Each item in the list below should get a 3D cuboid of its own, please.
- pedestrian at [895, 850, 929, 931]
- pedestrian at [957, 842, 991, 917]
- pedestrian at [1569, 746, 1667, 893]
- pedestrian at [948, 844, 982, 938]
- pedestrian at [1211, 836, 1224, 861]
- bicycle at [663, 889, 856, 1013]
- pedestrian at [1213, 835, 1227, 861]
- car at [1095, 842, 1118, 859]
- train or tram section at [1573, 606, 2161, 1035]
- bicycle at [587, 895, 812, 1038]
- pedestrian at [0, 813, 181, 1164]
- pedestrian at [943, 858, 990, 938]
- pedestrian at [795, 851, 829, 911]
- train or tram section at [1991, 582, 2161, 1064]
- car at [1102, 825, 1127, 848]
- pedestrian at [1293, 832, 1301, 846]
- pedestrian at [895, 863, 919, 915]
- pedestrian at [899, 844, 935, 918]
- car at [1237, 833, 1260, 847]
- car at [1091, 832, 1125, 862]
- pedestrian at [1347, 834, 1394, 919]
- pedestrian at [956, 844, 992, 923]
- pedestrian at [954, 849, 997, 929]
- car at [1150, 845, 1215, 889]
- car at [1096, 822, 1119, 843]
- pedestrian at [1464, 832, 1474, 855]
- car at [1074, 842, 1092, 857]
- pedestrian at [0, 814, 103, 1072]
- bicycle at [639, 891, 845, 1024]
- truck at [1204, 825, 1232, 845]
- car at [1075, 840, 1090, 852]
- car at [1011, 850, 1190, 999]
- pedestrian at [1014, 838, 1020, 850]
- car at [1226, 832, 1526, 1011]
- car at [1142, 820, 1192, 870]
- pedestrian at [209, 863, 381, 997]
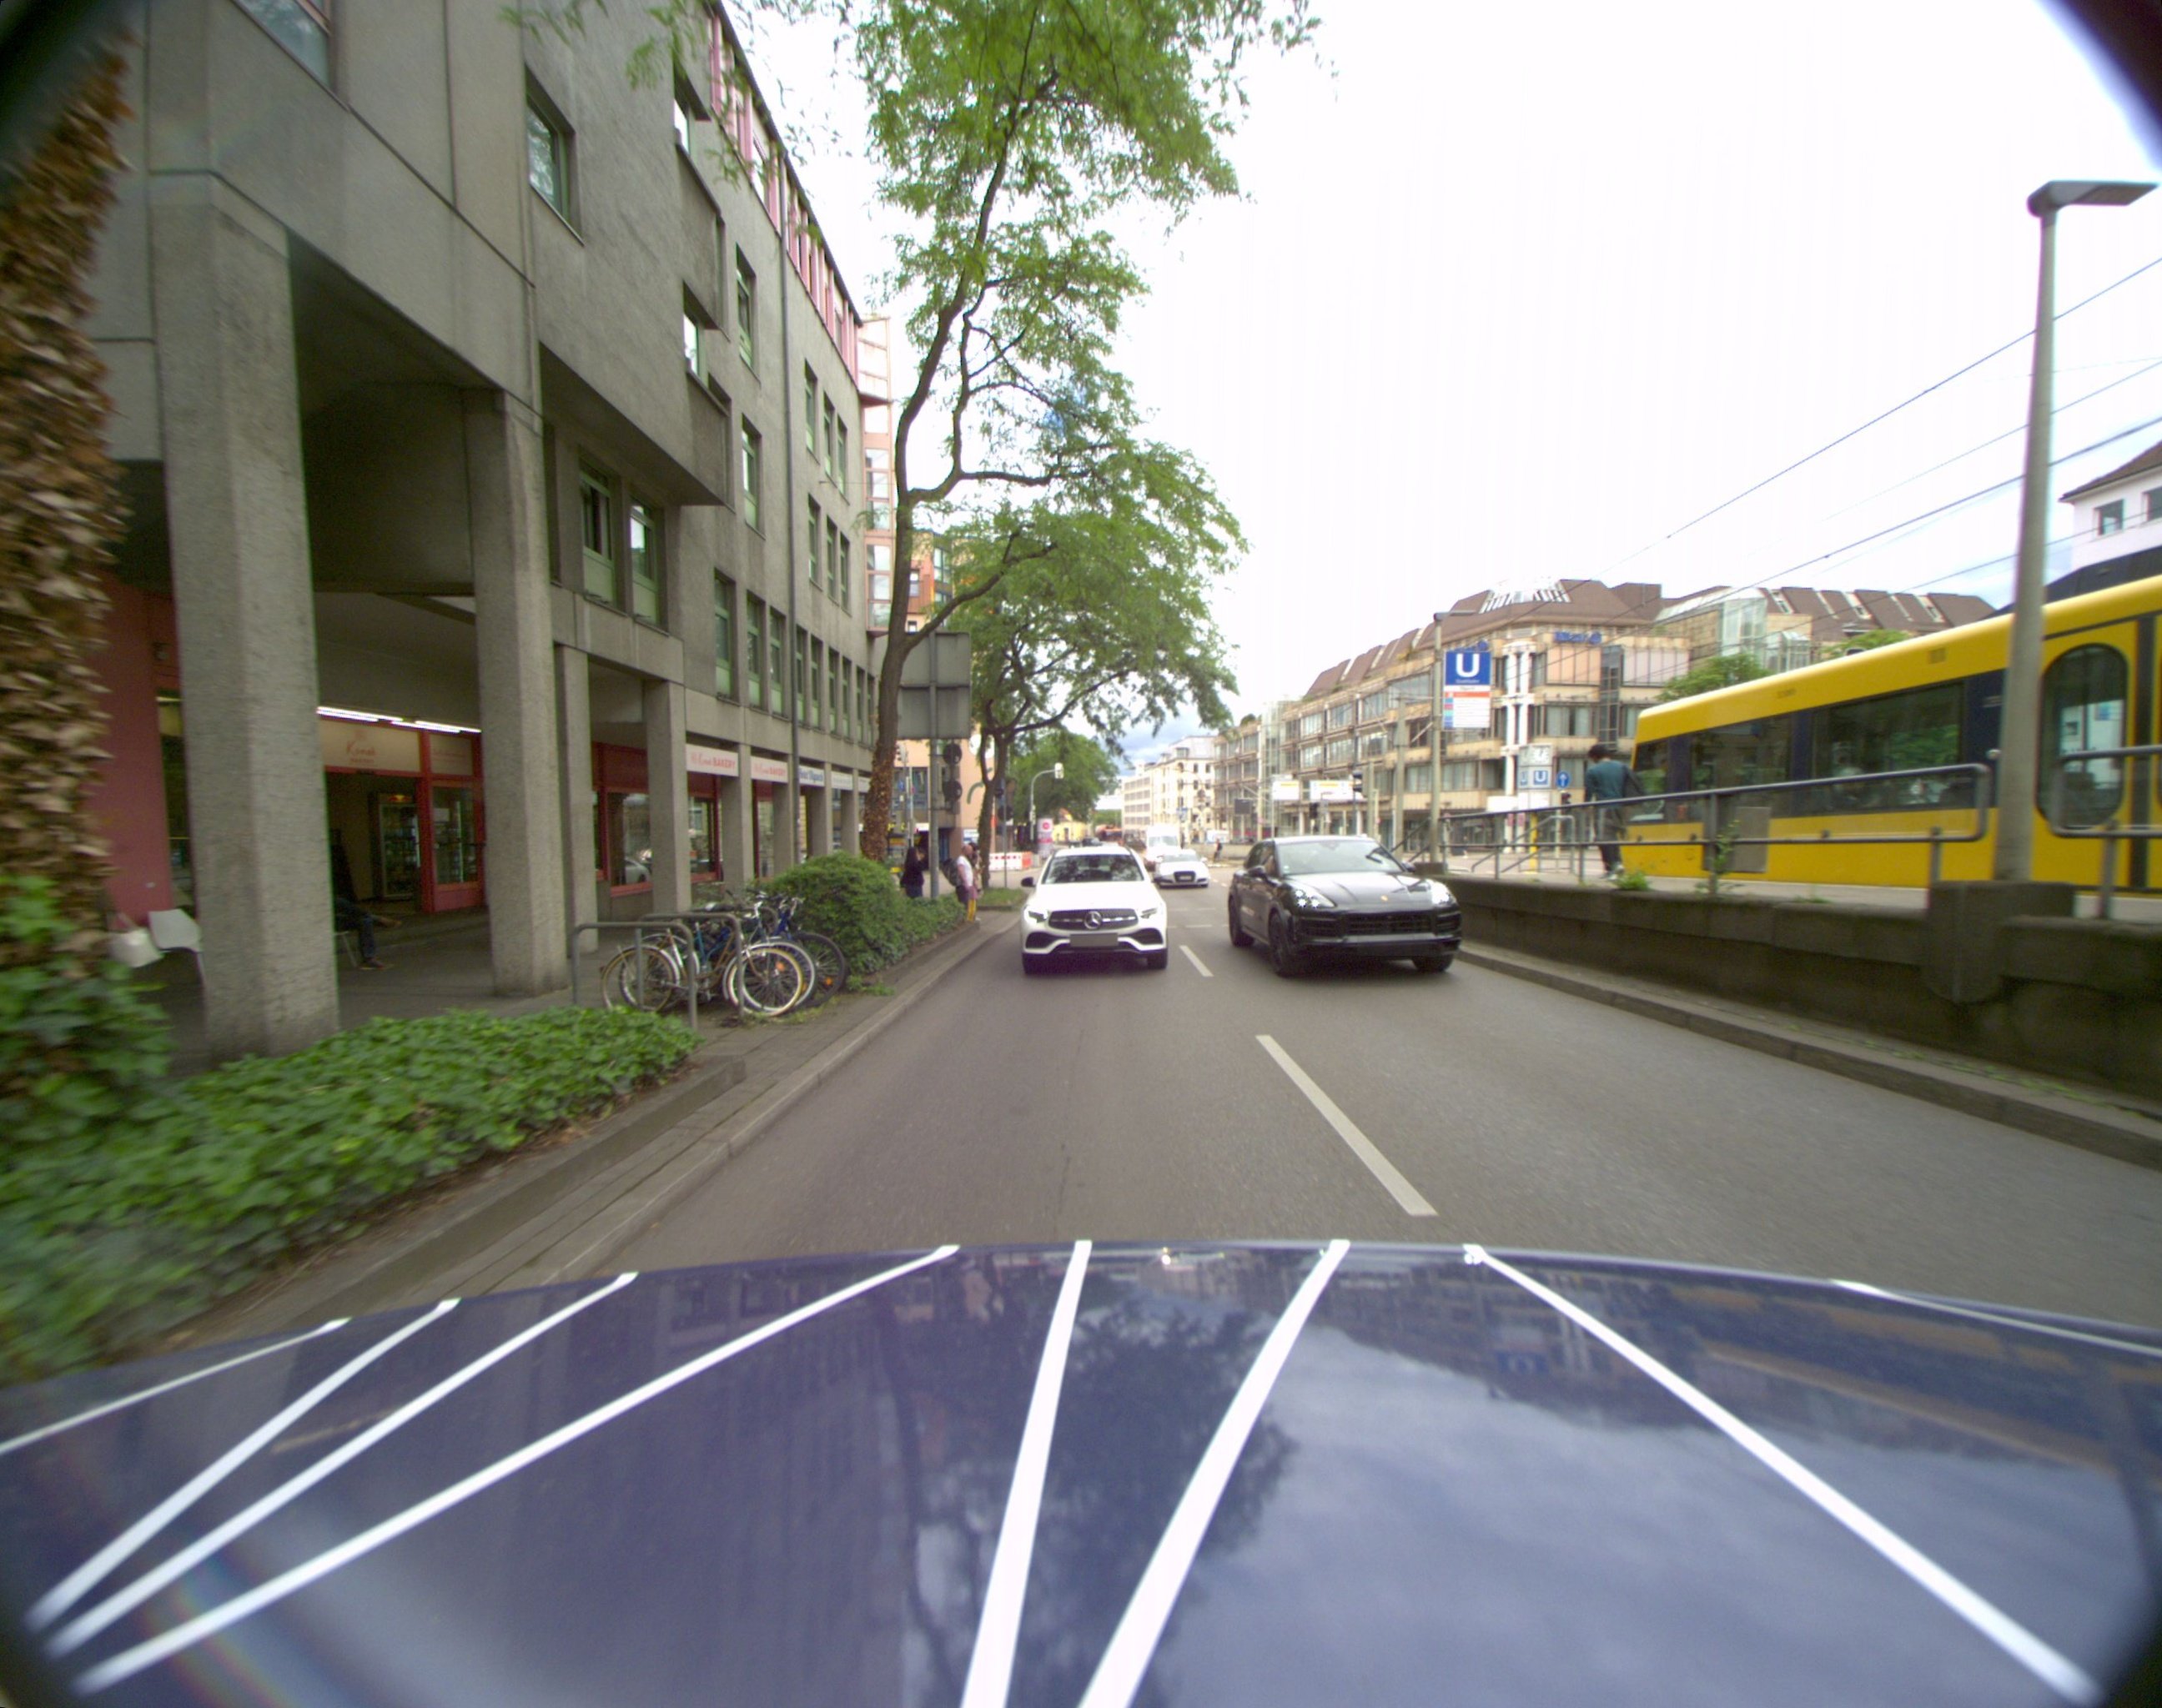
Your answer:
[{"bbox_3d":[-3.450,0.733,15.542,0.618,1.602,0.764,1,-1,-10],"label":"pedestrian"},{"bbox_3d":[-2.715,0.628,19.358,0.736,1.864,0.733,-1,2,-3],"label":"pedestrian"},{"bbox_3d":[6.570,-0.413,9.325,0.719,1.721,0.670,-2,2,2],"label":"pedestrian"},{"bbox_3d":[-2.280,0.715,15.007,0.520,1.779,0.764,-2,2,-3],"label":"pedestrian"},{"bbox_3d":[9.381,-0.368,52.134,0.766,1.712,0.637,-1,2,0],"label":"pedestrian"},{"bbox_3d":[-3.191,0.958,7.629,1.713,1.177,0.448,1,1,-6],"label":"bicycle"},{"bbox_3d":[9.423,-0.422,51.483,0.794,1.712,0.772,-1,2,0],"label":"pedestrian"},{"bbox_3d":[2.492,-0.338,74.560,1.950,1.522,3.998,-2,2,-1],"label":"car"},{"bbox_3d":[9.364,-0.342,9.429,2.842,3.658,5.751,-2,1,1],"label":"train or tram section"},{"bbox_3d":[-3.313,0.968,6.686,1.713,1.177,0.448,1,1,-6],"label":"bicycle"},{"bbox_3d":[-5.864,0.667,4.184,0.764,1.773,0.847,1,2,-4],"label":"pedestrian"},{"bbox_3d":[-2.345,0.886,15.638,0.838,1.554,0.764,-2,2,-3],"label":"pedestrian"},{"bbox_3d":[-8.103,0.795,22.863,0.857,1.703,1.124,-3,0,-21],"label":"pedestrian"},{"bbox_3d":[9.226,-0.233,3.666,2.842,3.501,5.751,-2,1,1],"label":"train or tram section"},{"bbox_3d":[4.296,-2.313,97.704,2.504,2.793,5.724,-2,2,-4],"label":"car"},{"bbox_3d":[27.731,-1.962,97.691,0.732,1.801,0.739,-2,2,-4],"label":"pedestrian"},{"bbox_3d":[-4.530,0.906,19.839,0.472,1.326,0.519,-2,2,-3],"label":"pedestrian"},{"bbox_3d":[-4.080,0.674,18.919,0.723,1.792,0.834,1,-1,-3],"label":"pedestrian"},{"bbox_3d":[22.839,-1.900,103.917,1.678,1.749,4.778,-2,2,-6],"label":"car"},{"bbox_3d":[2.108,-0.603,60.195,2.503,2.145,5.726,-2,2,1],"label":"car"},{"bbox_3d":[5.948,0.446,15.634,0.687,1.701,0.711,-1,1,1],"label":"pedestrian"},{"bbox_3d":[-2.479,0.674,17.656,0.695,1.767,0.689,3,2,-3],"label":"pedestrian"},{"bbox_3d":[-2.296,0.751,16.554,0.838,1.694,0.764,1,1,-3],"label":"pedestrian"},{"bbox_3d":[4.001,0.478,30.572,1.950,1.522,3.998,-2,2,-2],"label":"car"},{"bbox_3d":[3.679,-2.993,105.304,2.504,2.793,5.724,-2,2,-4],"label":"car"},{"bbox_3d":[29.841,-0.825,58.477,0.511,1.770,0.577,-1,2,3],"label":"pedestrian"},{"bbox_3d":[0.181,-0.567,86.769,1.950,1.522,3.998,-2,2,-1],"label":"car"},{"bbox_3d":[-7.915,0.610,5.462,0.834,1.793,0.723,1,1,1],"label":"pedestrian"},{"bbox_3d":[-3.161,0.963,7.177,1.713,1.177,0.448,1,1,-6],"label":"bicycle"},{"bbox_3d":[21.387,-2.963,118.942,2.273,3.059,7.368,1,2,-6],"label":"truck"},{"bbox_3d":[0.156,-1.163,106.765,1.950,1.522,3.998,-2,2,-1],"label":"car"},{"bbox_3d":[0.073,0.815,10.988,2.061,1.599,3.923,-2,2,-6],"label":"car"},{"bbox_3d":[-8.885,-1.411,105.958,0.711,1.701,0.687,-1,1,1],"label":"pedestrian"},{"bbox_3d":[3.323,0.618,9.935,2.087,1.665,5.352,-2,1,3],"label":"car"},{"bbox_3d":[5.052,-0.596,45.514,2.281,2.744,5.938,-2,2,0],"label":"car"},{"bbox_3d":[-8.466,0.794,8.231,1.059,1.356,0.756,1,1,-6],"label":"pedestrian"}]
